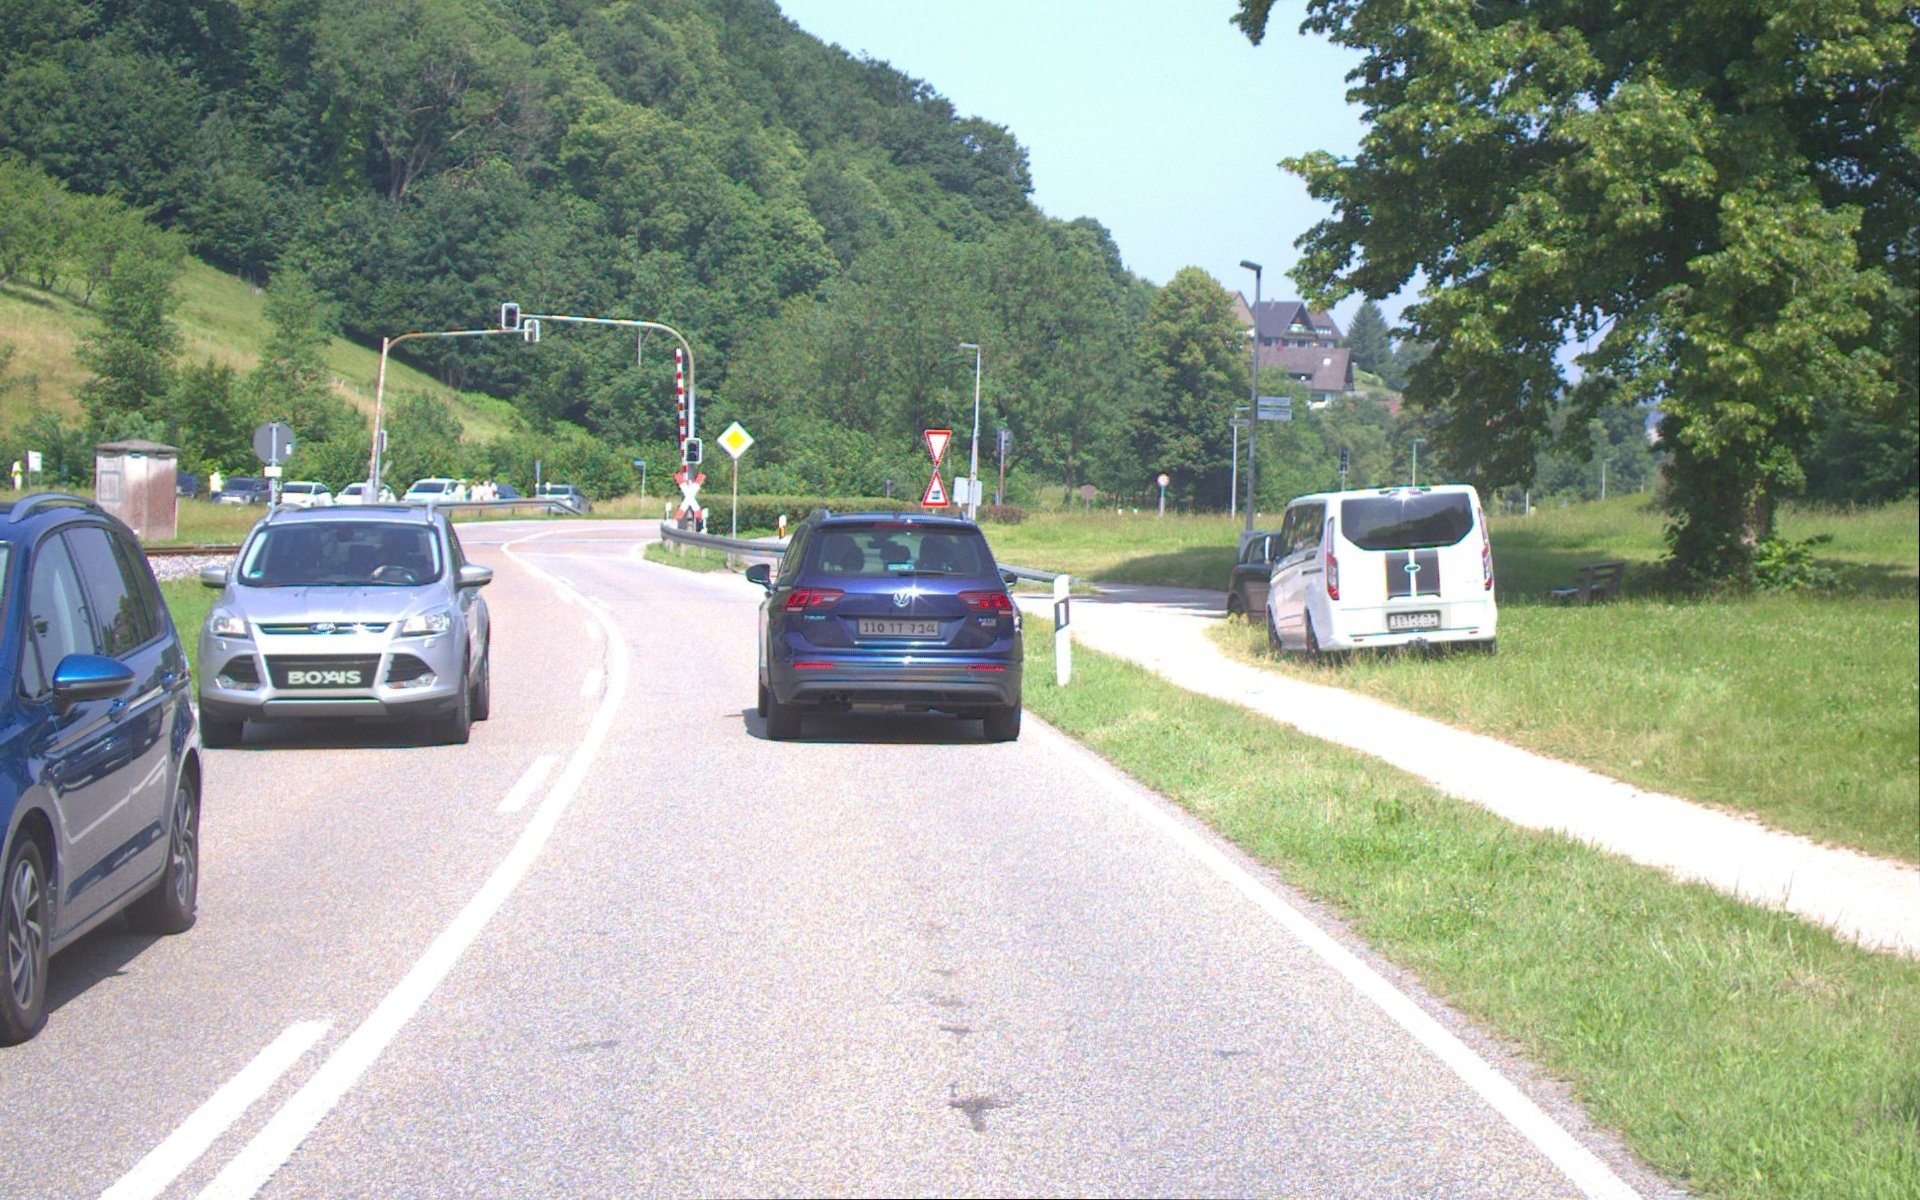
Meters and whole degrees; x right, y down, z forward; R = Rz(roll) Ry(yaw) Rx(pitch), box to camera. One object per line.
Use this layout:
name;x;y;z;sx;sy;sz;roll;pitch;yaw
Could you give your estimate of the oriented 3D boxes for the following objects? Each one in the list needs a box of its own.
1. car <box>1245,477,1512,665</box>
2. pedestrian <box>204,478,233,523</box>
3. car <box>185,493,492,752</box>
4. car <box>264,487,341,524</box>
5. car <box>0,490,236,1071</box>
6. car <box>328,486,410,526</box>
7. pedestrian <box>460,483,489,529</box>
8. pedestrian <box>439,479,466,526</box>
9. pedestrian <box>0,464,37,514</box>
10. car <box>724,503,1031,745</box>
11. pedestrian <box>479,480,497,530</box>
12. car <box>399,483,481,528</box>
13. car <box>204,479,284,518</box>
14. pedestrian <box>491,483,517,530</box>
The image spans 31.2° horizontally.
car;4.598;-0.371;38.529;1.999;1.842;4.870;-4;2;-3
pedestrian;-29.301;-3.938;135.837;0.954;1.788;1.000;0;2;-1
car;-4.403;0.091;24.886;1.915;1.708;4.161;0;2;-7
car;-27.076;-3.892;141.770;1.994;1.495;4.521;1;1;5
car;-3.697;0.447;11.382;1.865;1.618;4.511;1;1;-3
car;-24.371;-3.873;141.923;1.994;1.635;4.901;1;1;7
pedestrian;-19.085;-3.696;135.117;0.770;1.790;0.792;1;2;34
pedestrian;-19.802;-3.801;134.164;0.788;1.836;0.698;1;1;18
pedestrian;-37.691;-4.449;137.618;1.127;1.962;0.861;1;1;22
car;-0.699;0.116;25.605;1.852;1.643;4.141;1;1;-7
pedestrian;-18.526;-3.730;134.953;0.660;1.948;0.533;1;1;-3
car;-21.485;-3.889;142.222;1.872;1.776;4.770;2;2;10
car;-29.562;-4.181;142.103;1.994;1.495;4.521;3;2;4
pedestrian;-17.964;-3.696;135.407;0.648;1.852;0.769;1;2;40
